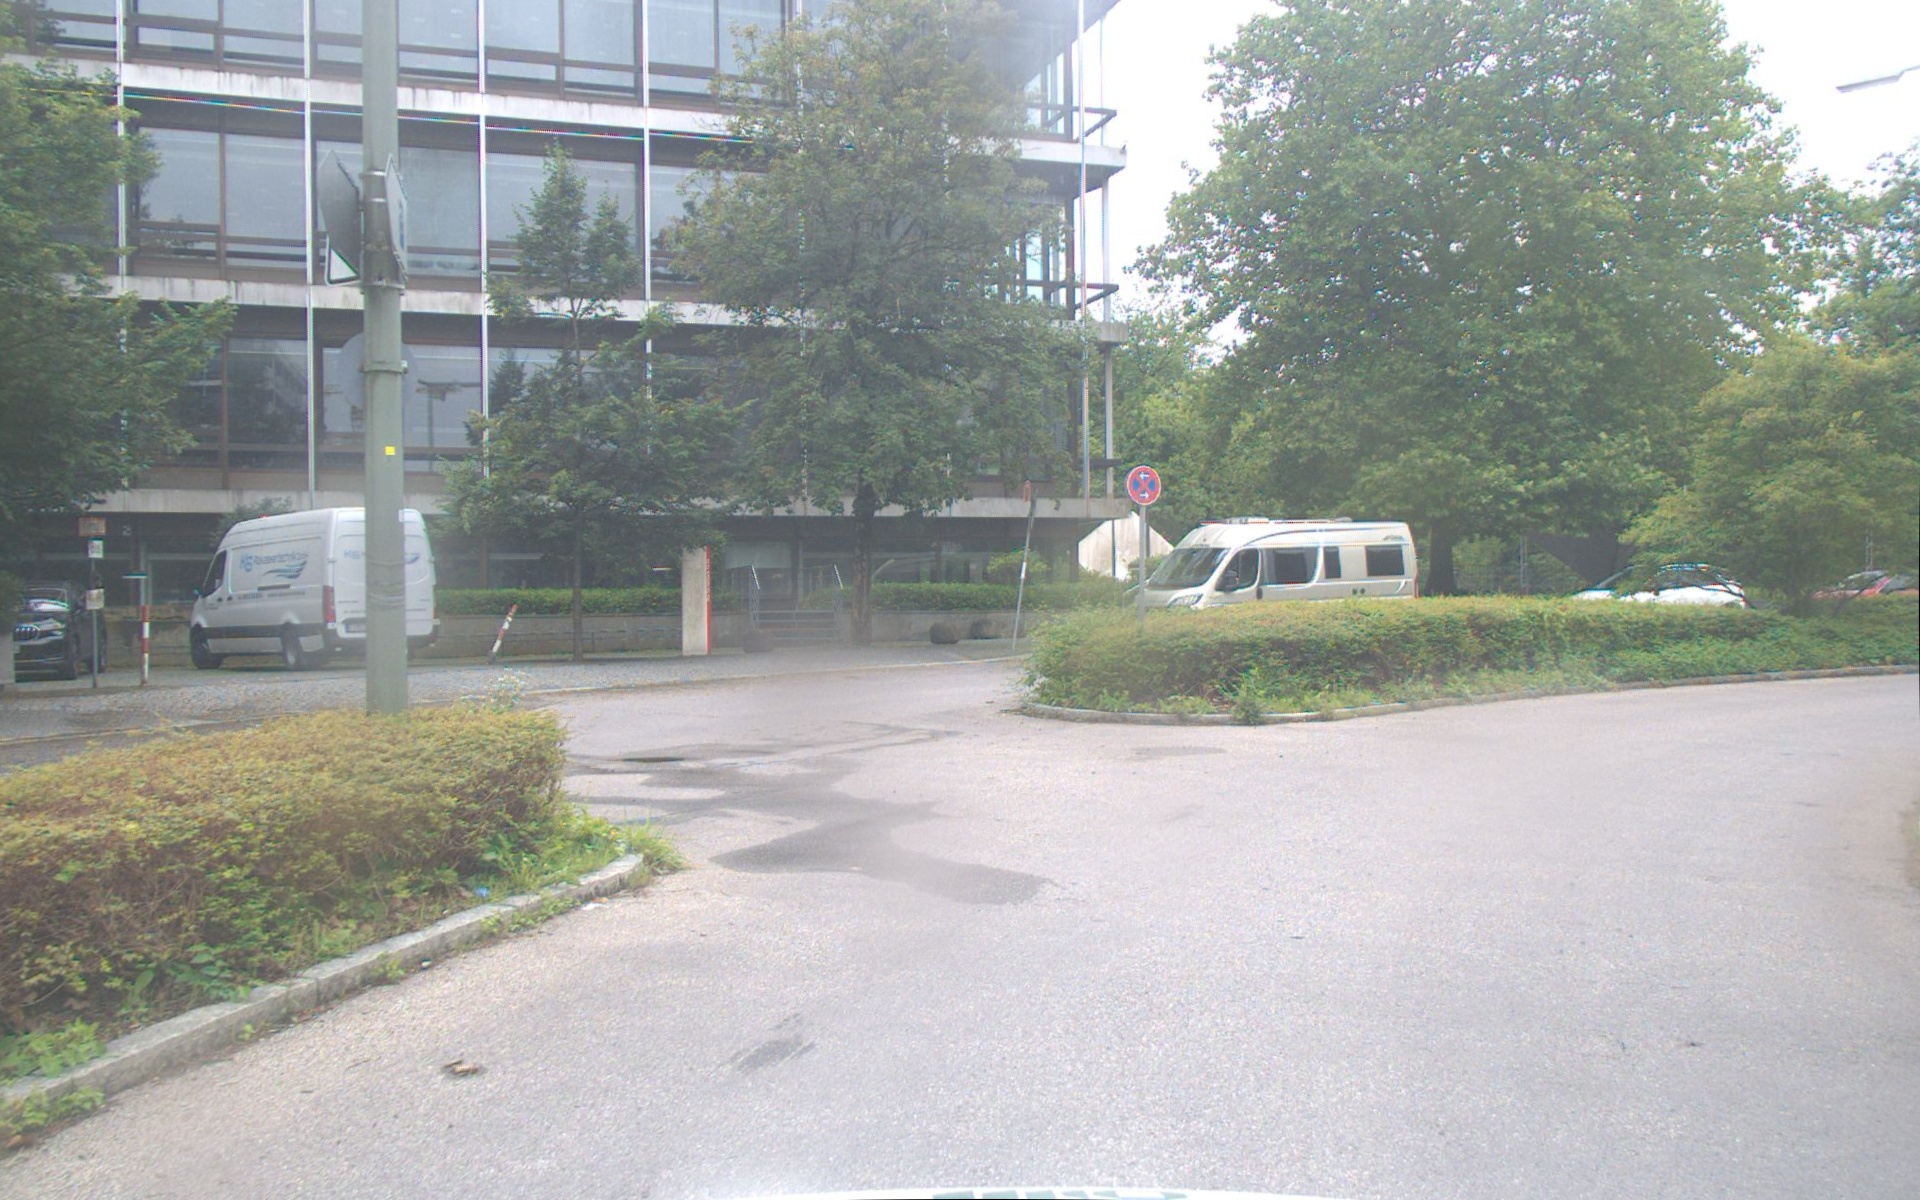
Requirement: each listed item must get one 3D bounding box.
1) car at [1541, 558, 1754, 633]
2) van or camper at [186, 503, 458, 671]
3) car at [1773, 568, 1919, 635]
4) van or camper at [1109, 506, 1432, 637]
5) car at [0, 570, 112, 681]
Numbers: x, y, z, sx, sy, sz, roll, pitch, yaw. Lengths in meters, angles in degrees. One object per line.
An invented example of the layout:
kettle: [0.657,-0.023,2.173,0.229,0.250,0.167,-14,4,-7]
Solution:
car: [14.925,-0.111,35.949,3.924,1.534,1.990,-1,0,-18]
van or camper: [-11.296,-0.114,28.945,2.146,2.626,6.433,0,-2,-44]
car: [20.909,0.011,37.769,3.924,1.434,1.990,-1,0,-18]
van or camper: [6.044,-0.538,31.814,6.338,2.321,2.230,-1,0,-33]
car: [-15.787,0.407,28.243,1.914,1.751,4.210,-1,0,-22]
